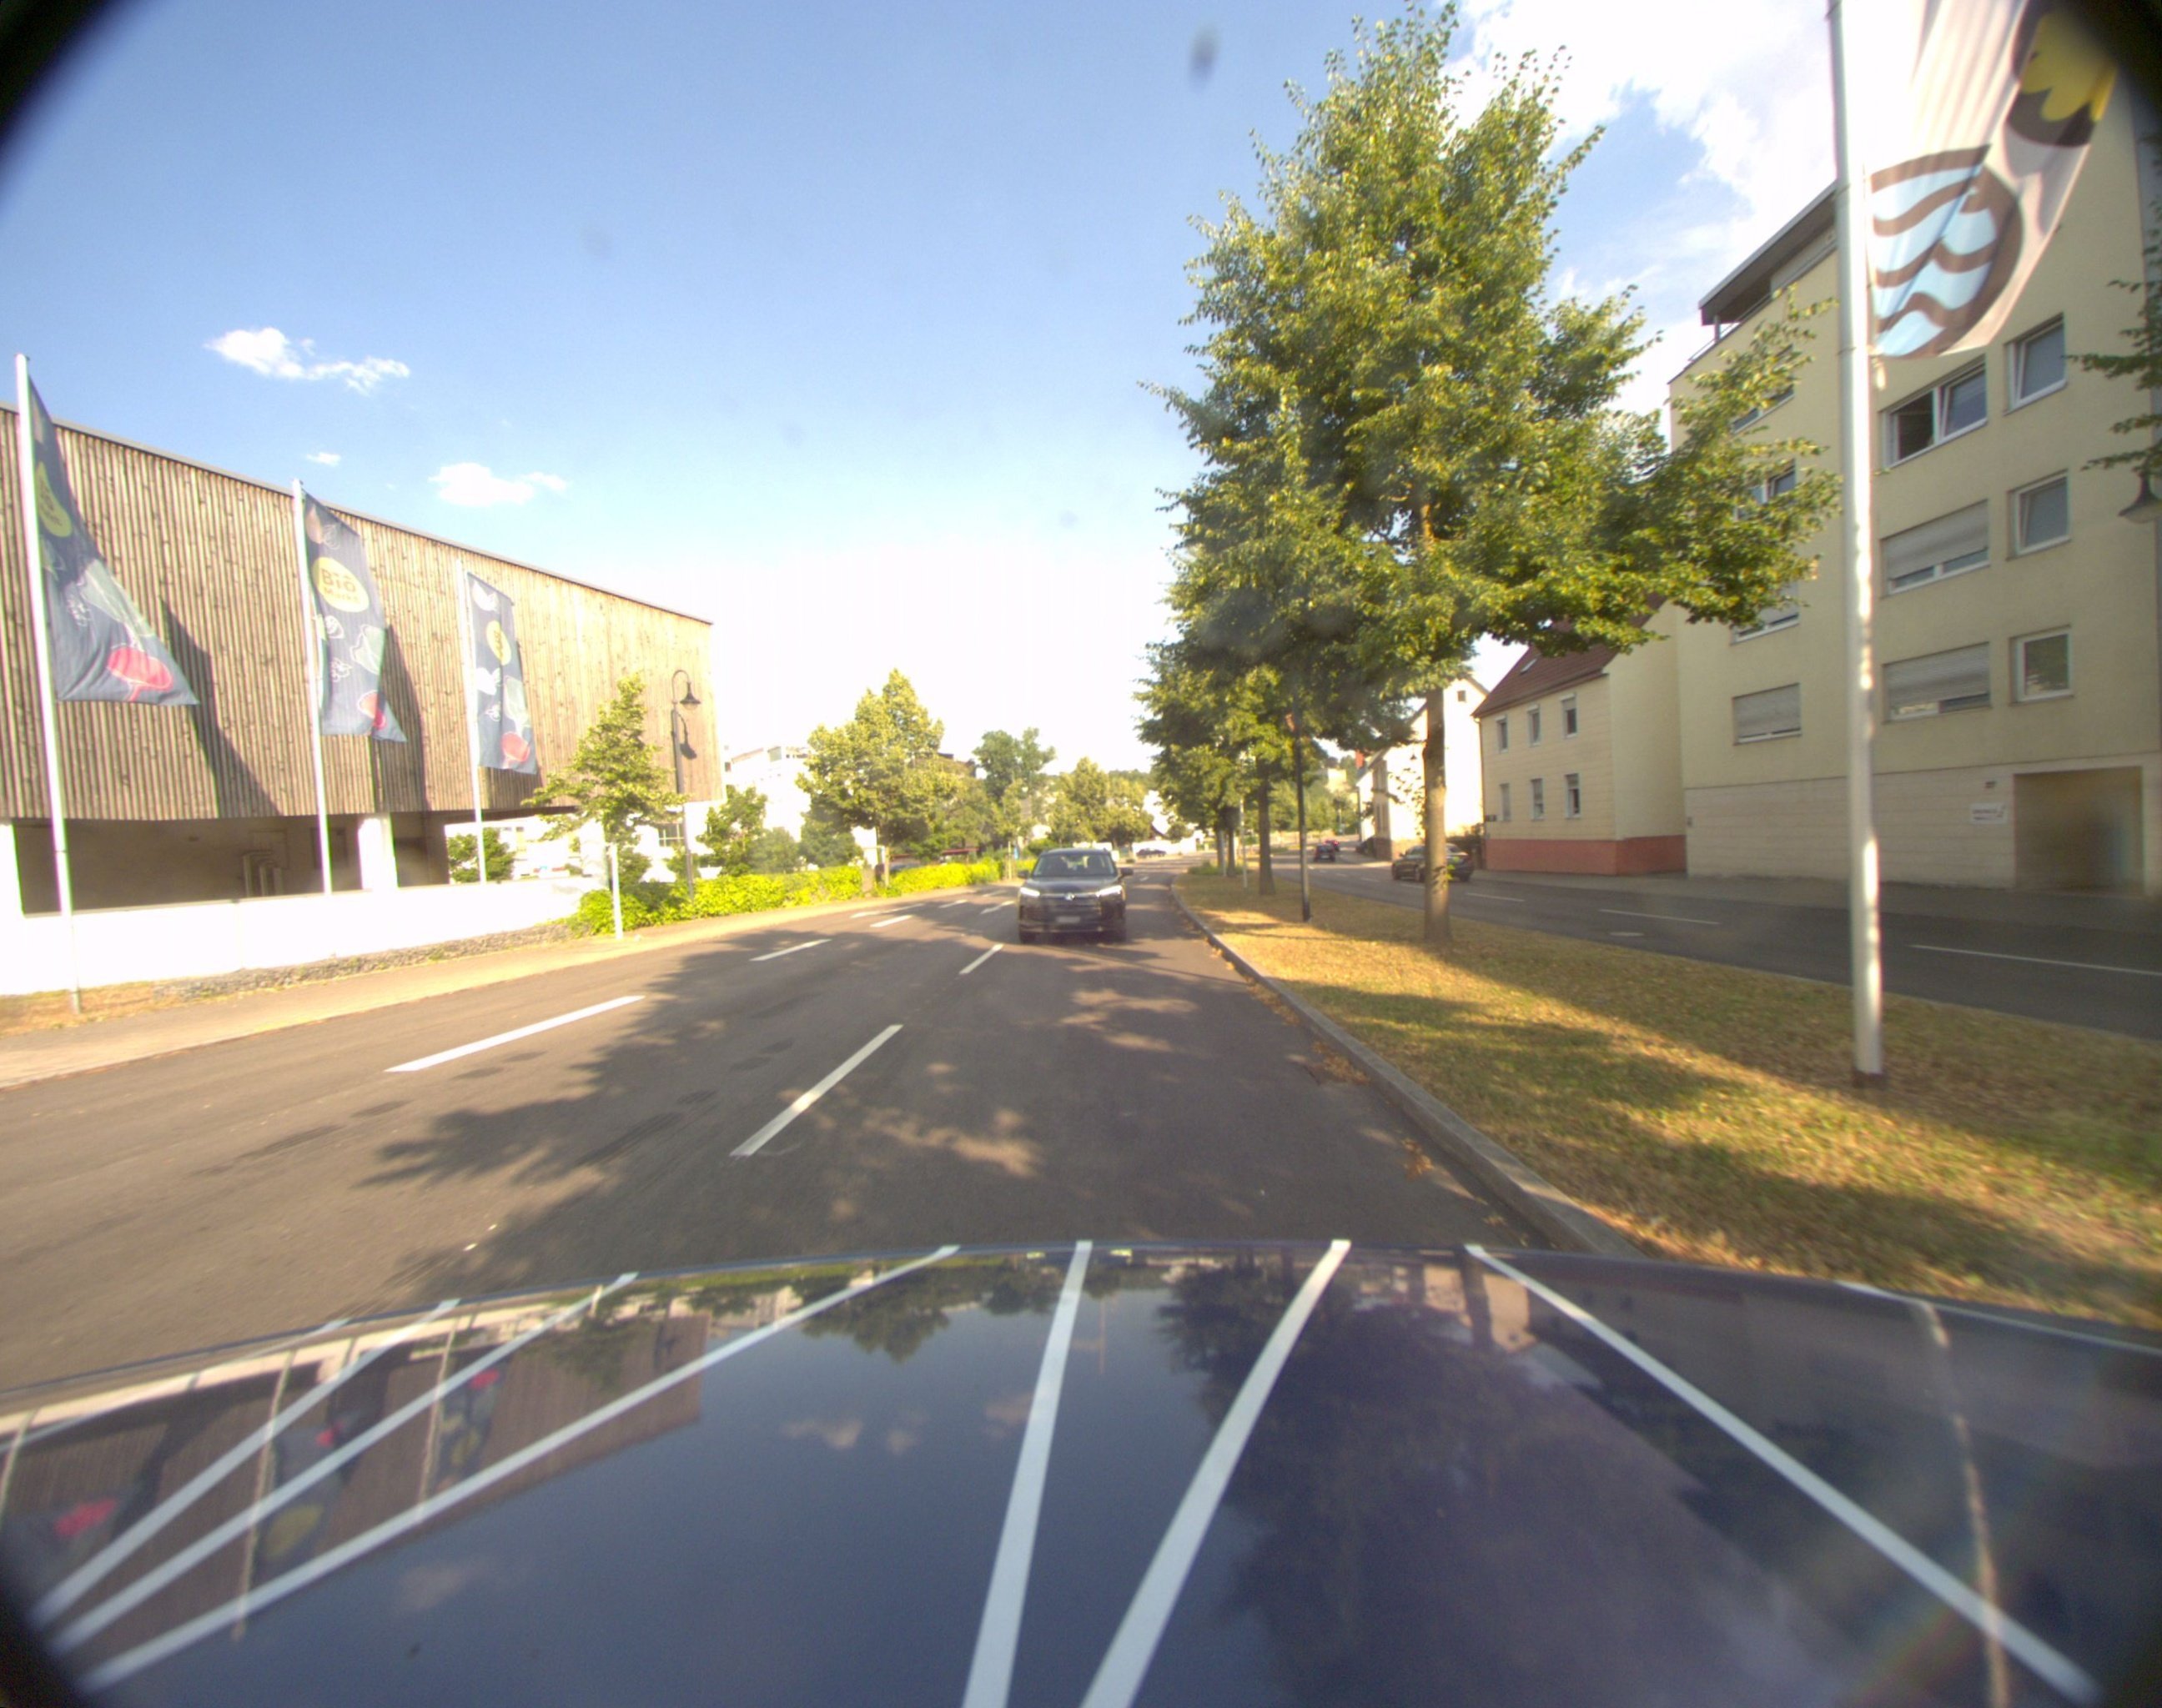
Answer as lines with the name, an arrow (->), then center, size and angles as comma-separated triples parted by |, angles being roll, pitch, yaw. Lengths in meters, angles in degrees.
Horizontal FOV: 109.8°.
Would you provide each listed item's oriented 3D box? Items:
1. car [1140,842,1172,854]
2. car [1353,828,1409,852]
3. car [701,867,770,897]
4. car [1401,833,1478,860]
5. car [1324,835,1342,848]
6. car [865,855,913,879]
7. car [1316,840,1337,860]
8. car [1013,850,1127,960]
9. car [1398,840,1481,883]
car -> 10.251, -0.839, 103.334 | 3.830, 1.412, 1.940 | -3, 1, 21
car -> 28.502, -1.363, 72.292 | 4.830, 1.866, 2.002 | -5, 0, 20
car -> -24.693, 1.986, 54.482 | 1.891, 1.713, 4.321 | -6, -1, 21
car -> 23.027, -0.466, 48.960 | 4.350, 1.477, 2.014 | -3, 1, 25
car -> 31.256, -1.552, 94.097 | 1.942, 1.477, 4.330 | -2, 1, 20
car -> -17.259, 1.131, 68.521 | 1.996, 1.844, 4.652 | -3, 1, 16
car -> 20.173, -0.332, 62.423 | 1.607, 1.477, 3.788 | -2, 1, 18
car -> -0.091, 0.790, 14.028 | 1.725, 1.605, 4.261 | -2, 1, 2
car -> 13.862, 0.226, 29.686 | 1.855, 1.477, 5.000 | -2, 1, 13
